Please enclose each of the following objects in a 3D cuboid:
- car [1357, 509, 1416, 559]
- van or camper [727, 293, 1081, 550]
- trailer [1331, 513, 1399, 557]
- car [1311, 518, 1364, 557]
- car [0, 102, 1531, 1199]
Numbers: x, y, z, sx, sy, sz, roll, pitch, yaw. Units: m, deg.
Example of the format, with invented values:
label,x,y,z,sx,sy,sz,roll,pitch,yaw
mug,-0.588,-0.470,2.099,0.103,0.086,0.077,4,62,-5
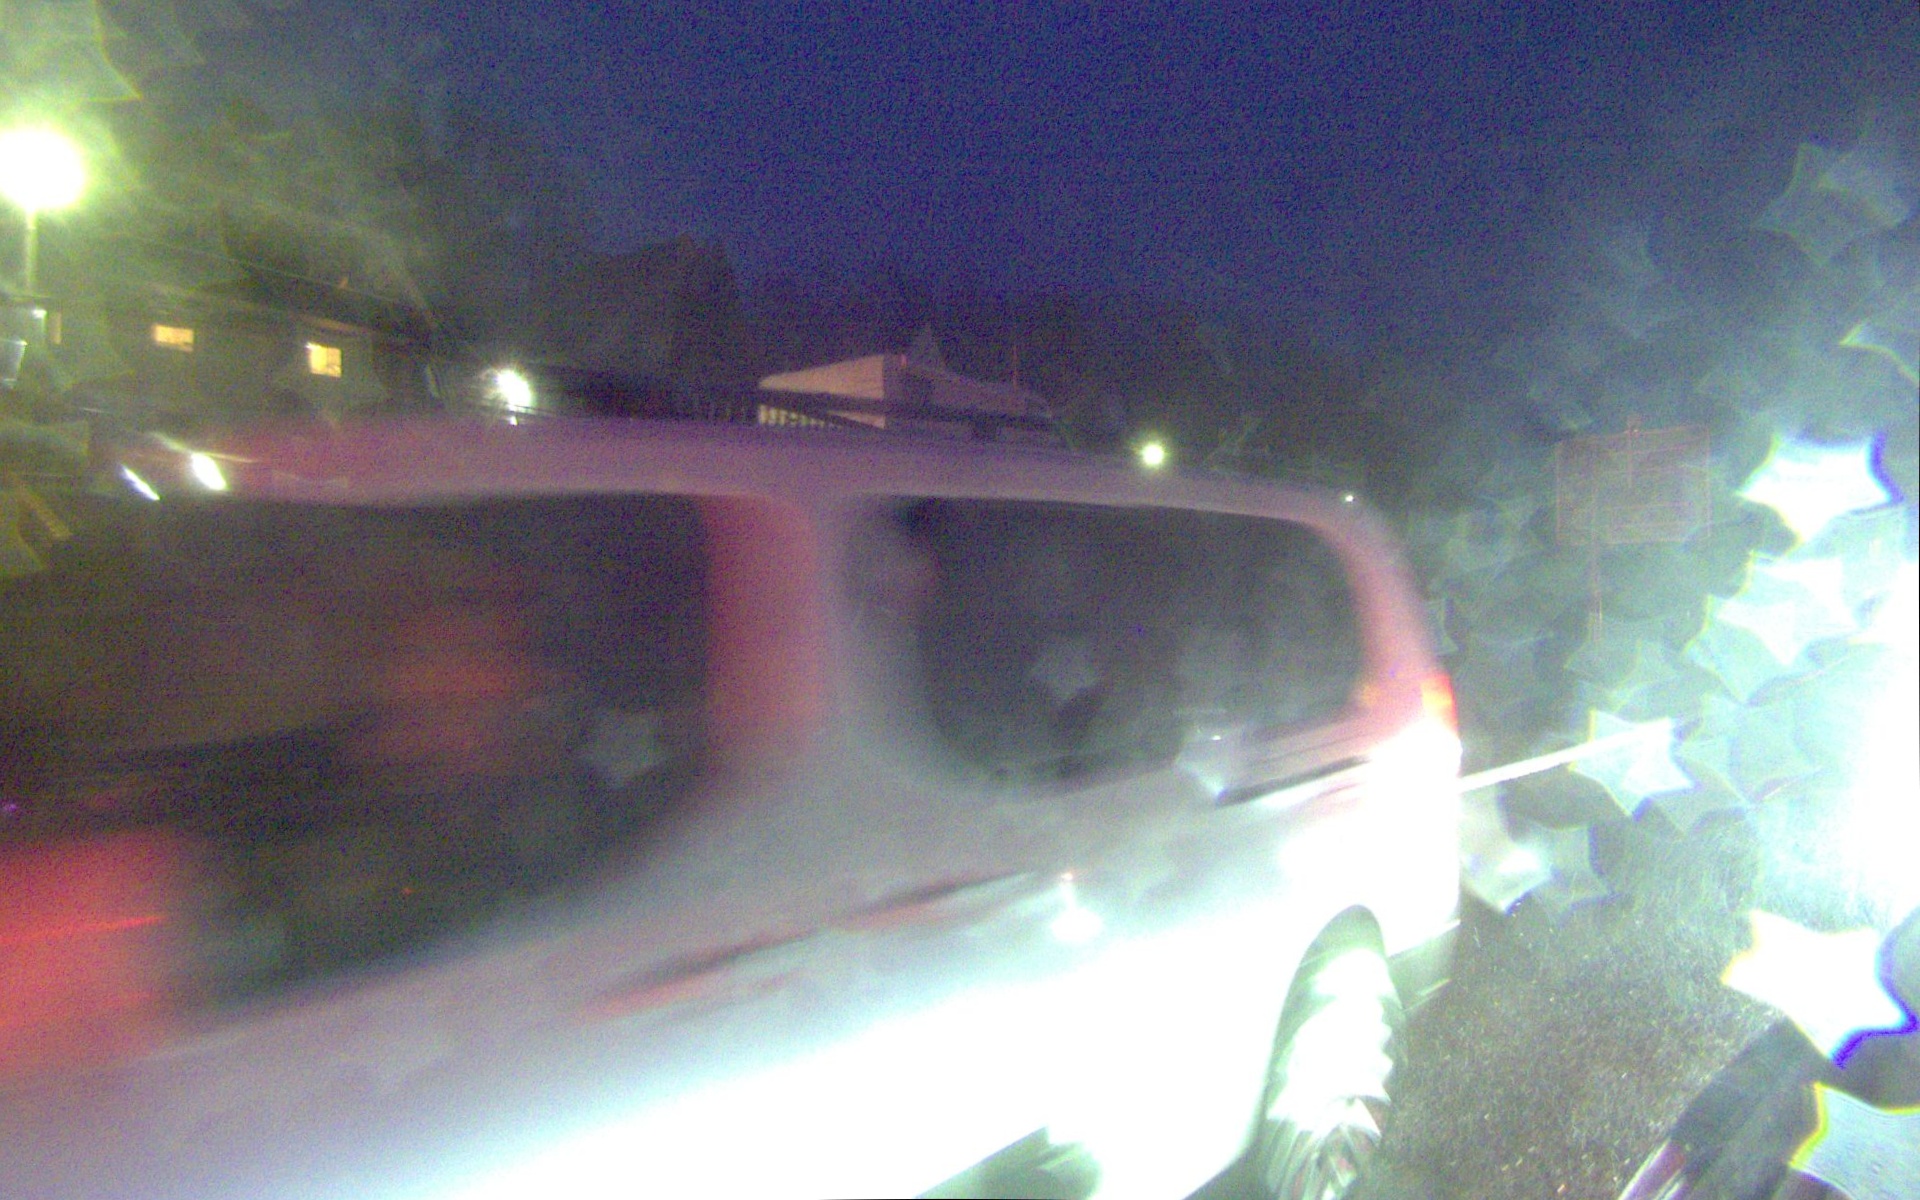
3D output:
label,x,y,z,sx,sy,sz,roll,pitch,yaw
car,24.841,-3.747,58.828,2.107,2.668,5.384,1,1,34
van or camper,-0.517,-2.370,15.896,2.566,2.944,6.292,1,1,30
trailer,21.751,-3.405,54.236,2.218,2.097,5.651,2,2,34
car,17.901,-2.937,47.904,1.605,1.660,3.955,1,1,32
car,-0.670,0.495,2.130,4.626,1.841,1.759,0,0,-40
